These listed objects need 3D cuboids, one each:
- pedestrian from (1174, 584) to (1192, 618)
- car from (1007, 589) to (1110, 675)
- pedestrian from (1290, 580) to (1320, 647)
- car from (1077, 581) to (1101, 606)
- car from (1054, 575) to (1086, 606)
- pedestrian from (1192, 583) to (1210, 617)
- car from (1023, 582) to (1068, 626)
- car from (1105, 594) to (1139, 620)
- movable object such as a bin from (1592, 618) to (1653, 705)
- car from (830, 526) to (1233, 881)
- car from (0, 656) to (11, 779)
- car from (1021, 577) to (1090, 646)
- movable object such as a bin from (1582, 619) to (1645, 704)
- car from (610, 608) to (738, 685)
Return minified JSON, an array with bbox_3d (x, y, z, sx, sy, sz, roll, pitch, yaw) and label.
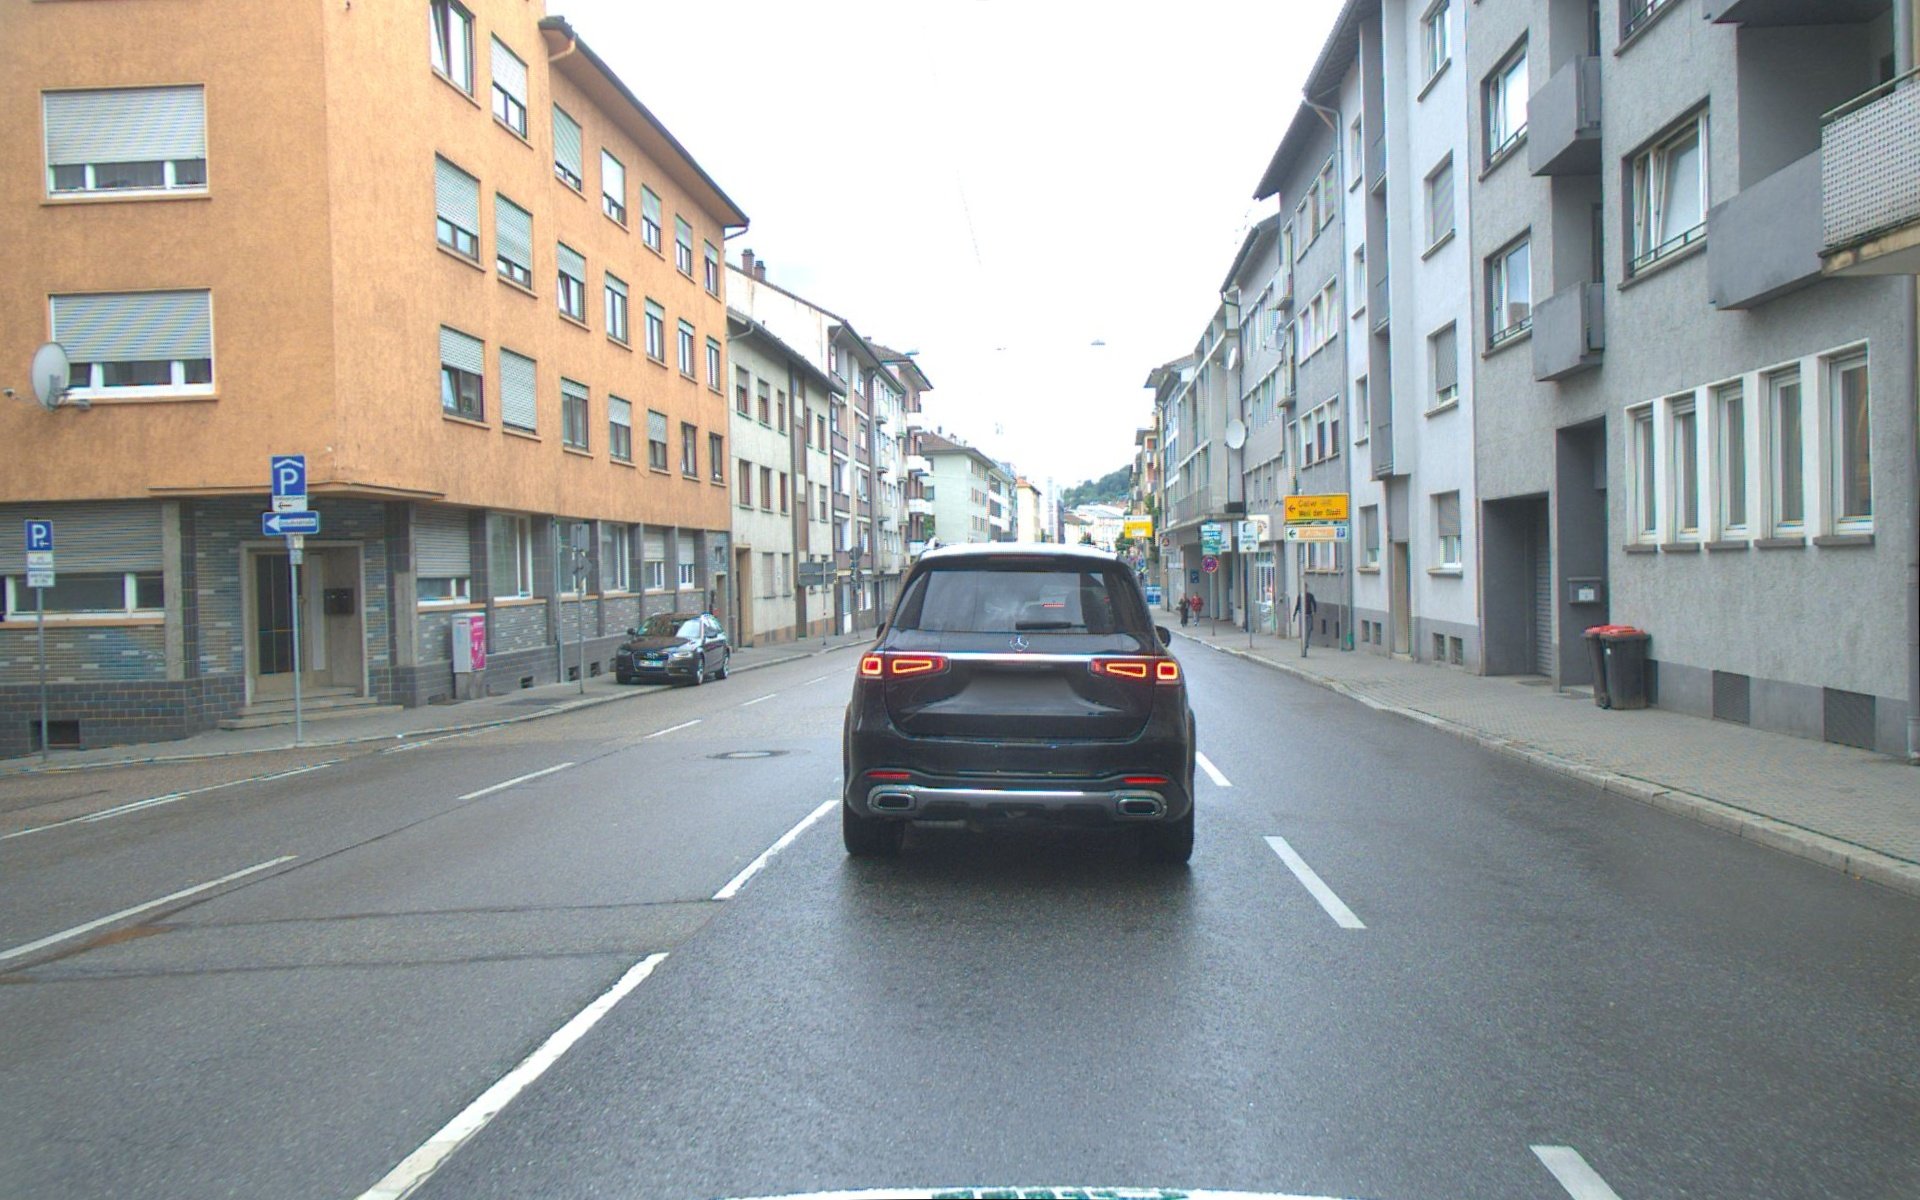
[{"bbox_3d":[10.526,0.031,78.063,0.803,1.592,0.900,0,0,6],"label":"pedestrian"},{"bbox_3d":[1.877,0.572,32.622,1.854,1.537,4.174,1,1,1],"label":"car"},{"bbox_3d":[9.376,0.362,44.983,0.641,1.782,0.742,-4,0,8],"label":"pedestrian"},{"bbox_3d":[10.780,-0.593,137.990,1.951,2.049,4.003,0,1,6],"label":"car"},{"bbox_3d":[7.424,-0.656,111.342,1.951,2.049,4.003,0,1,6],"label":"car"},{"bbox_3d":[11.360,0.002,78.001,0.803,1.592,0.900,0,0,6],"label":"pedestrian"},{"bbox_3d":[4.161,0.188,79.718,1.951,2.049,4.003,0,1,6],"label":"car"},{"bbox_3d":[9.153,0.389,93.711,1.698,1.412,4.584,0,1,2],"label":"car"},{"bbox_3d":[7.932,0.731,19.826,0.463,0.979,0.565,-5,0,5],"label":"movable object such as a bin"},{"bbox_3d":[0.459,0.488,10.700,2.033,1.796,4.613,0,1,2],"label":"car"},{"bbox_3d":[-14.417,1.675,20.662,3.905,1.680,1.931,-6,0,4],"label":"car"},{"bbox_3d":[2.995,0.316,51.092,1.951,2.049,4.003,0,1,6],"label":"car"},{"bbox_3d":[8.044,0.749,20.373,0.551,0.979,0.475,-5,0,6],"label":"movable object such as a bin"},{"bbox_3d":[-6.141,0.968,36.064,1.852,1.484,4.551,0,1,2],"label":"car"}]
